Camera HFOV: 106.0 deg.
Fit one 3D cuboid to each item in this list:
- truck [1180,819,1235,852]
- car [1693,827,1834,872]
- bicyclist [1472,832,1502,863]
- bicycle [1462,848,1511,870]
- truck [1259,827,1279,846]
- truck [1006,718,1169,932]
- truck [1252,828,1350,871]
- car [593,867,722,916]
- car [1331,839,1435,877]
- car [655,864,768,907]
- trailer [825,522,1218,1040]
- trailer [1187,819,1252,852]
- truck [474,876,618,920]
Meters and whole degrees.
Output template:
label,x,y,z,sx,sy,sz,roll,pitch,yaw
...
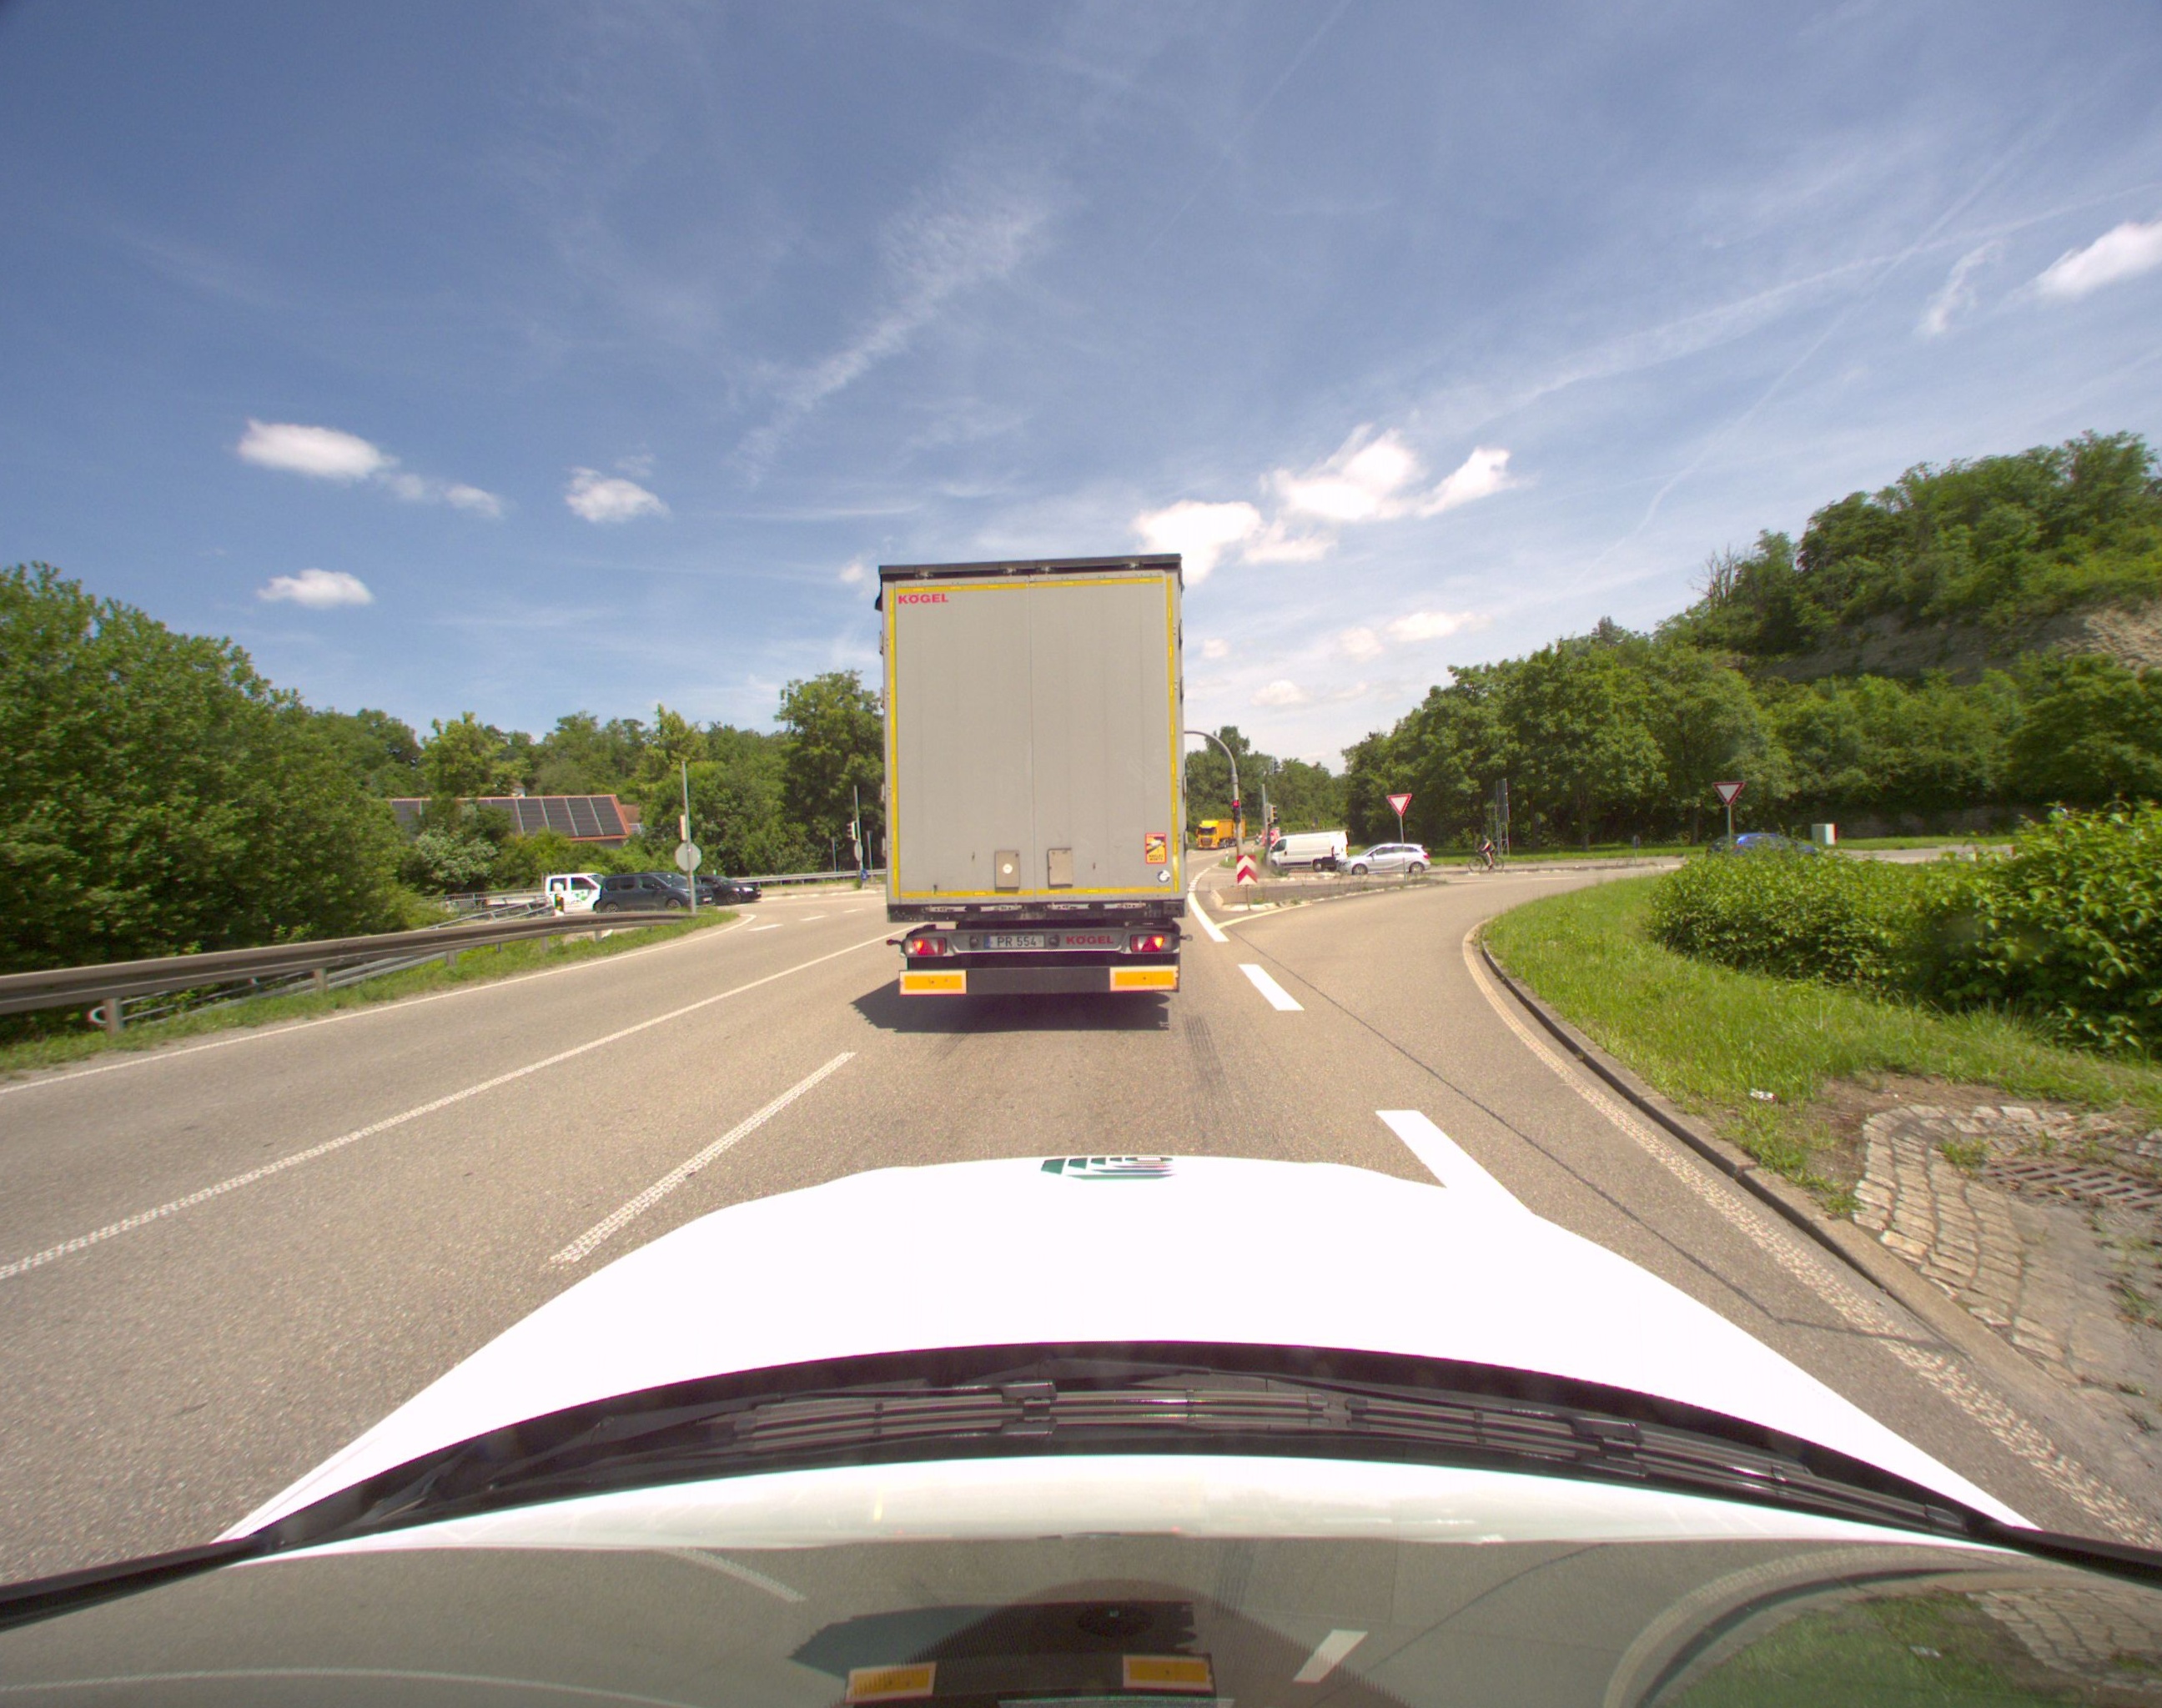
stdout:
label,x,y,z,sx,sy,sz,roll,pitch,yaw
truck,17.948,-2.617,114.468,4.967,4.362,11.830,-2,1,22
car,26.460,-0.155,31.682,3.831,1.613,1.882,-1,-2,2
bicyclist,19.625,-0.295,39.359,1.002,1.448,0.795,-1,-2,-1
bicycle,19.584,0.251,39.342,1.983,0.995,0.797,-1,-2,-1
truck,28.139,-2.536,121.818,2.475,2.727,6.056,-1,0,16
truck,0.340,-0.558,19.022,3.025,4.034,6.636,-2,0,4
truck,12.840,-0.219,47.708,5.095,2.296,2.012,-2,-3,40
car,-17.036,1.496,32.844,4.206,1.770,2.006,-2,-1,11
car,14.713,0.223,39.919,4.405,1.718,2.003,-1,-2,6
car,-16.737,1.433,36.974,4.206,1.770,2.006,-2,-1,11
trailer,-0.076,-0.567,12.772,3.038,4.034,12.571,-2,0,4
trailer,21.088,-2.865,122.099,4.967,4.362,20.952,-2,1,22
truck,-23.572,1.931,36.084,4.877,1.791,2.036,0,-2,-11
